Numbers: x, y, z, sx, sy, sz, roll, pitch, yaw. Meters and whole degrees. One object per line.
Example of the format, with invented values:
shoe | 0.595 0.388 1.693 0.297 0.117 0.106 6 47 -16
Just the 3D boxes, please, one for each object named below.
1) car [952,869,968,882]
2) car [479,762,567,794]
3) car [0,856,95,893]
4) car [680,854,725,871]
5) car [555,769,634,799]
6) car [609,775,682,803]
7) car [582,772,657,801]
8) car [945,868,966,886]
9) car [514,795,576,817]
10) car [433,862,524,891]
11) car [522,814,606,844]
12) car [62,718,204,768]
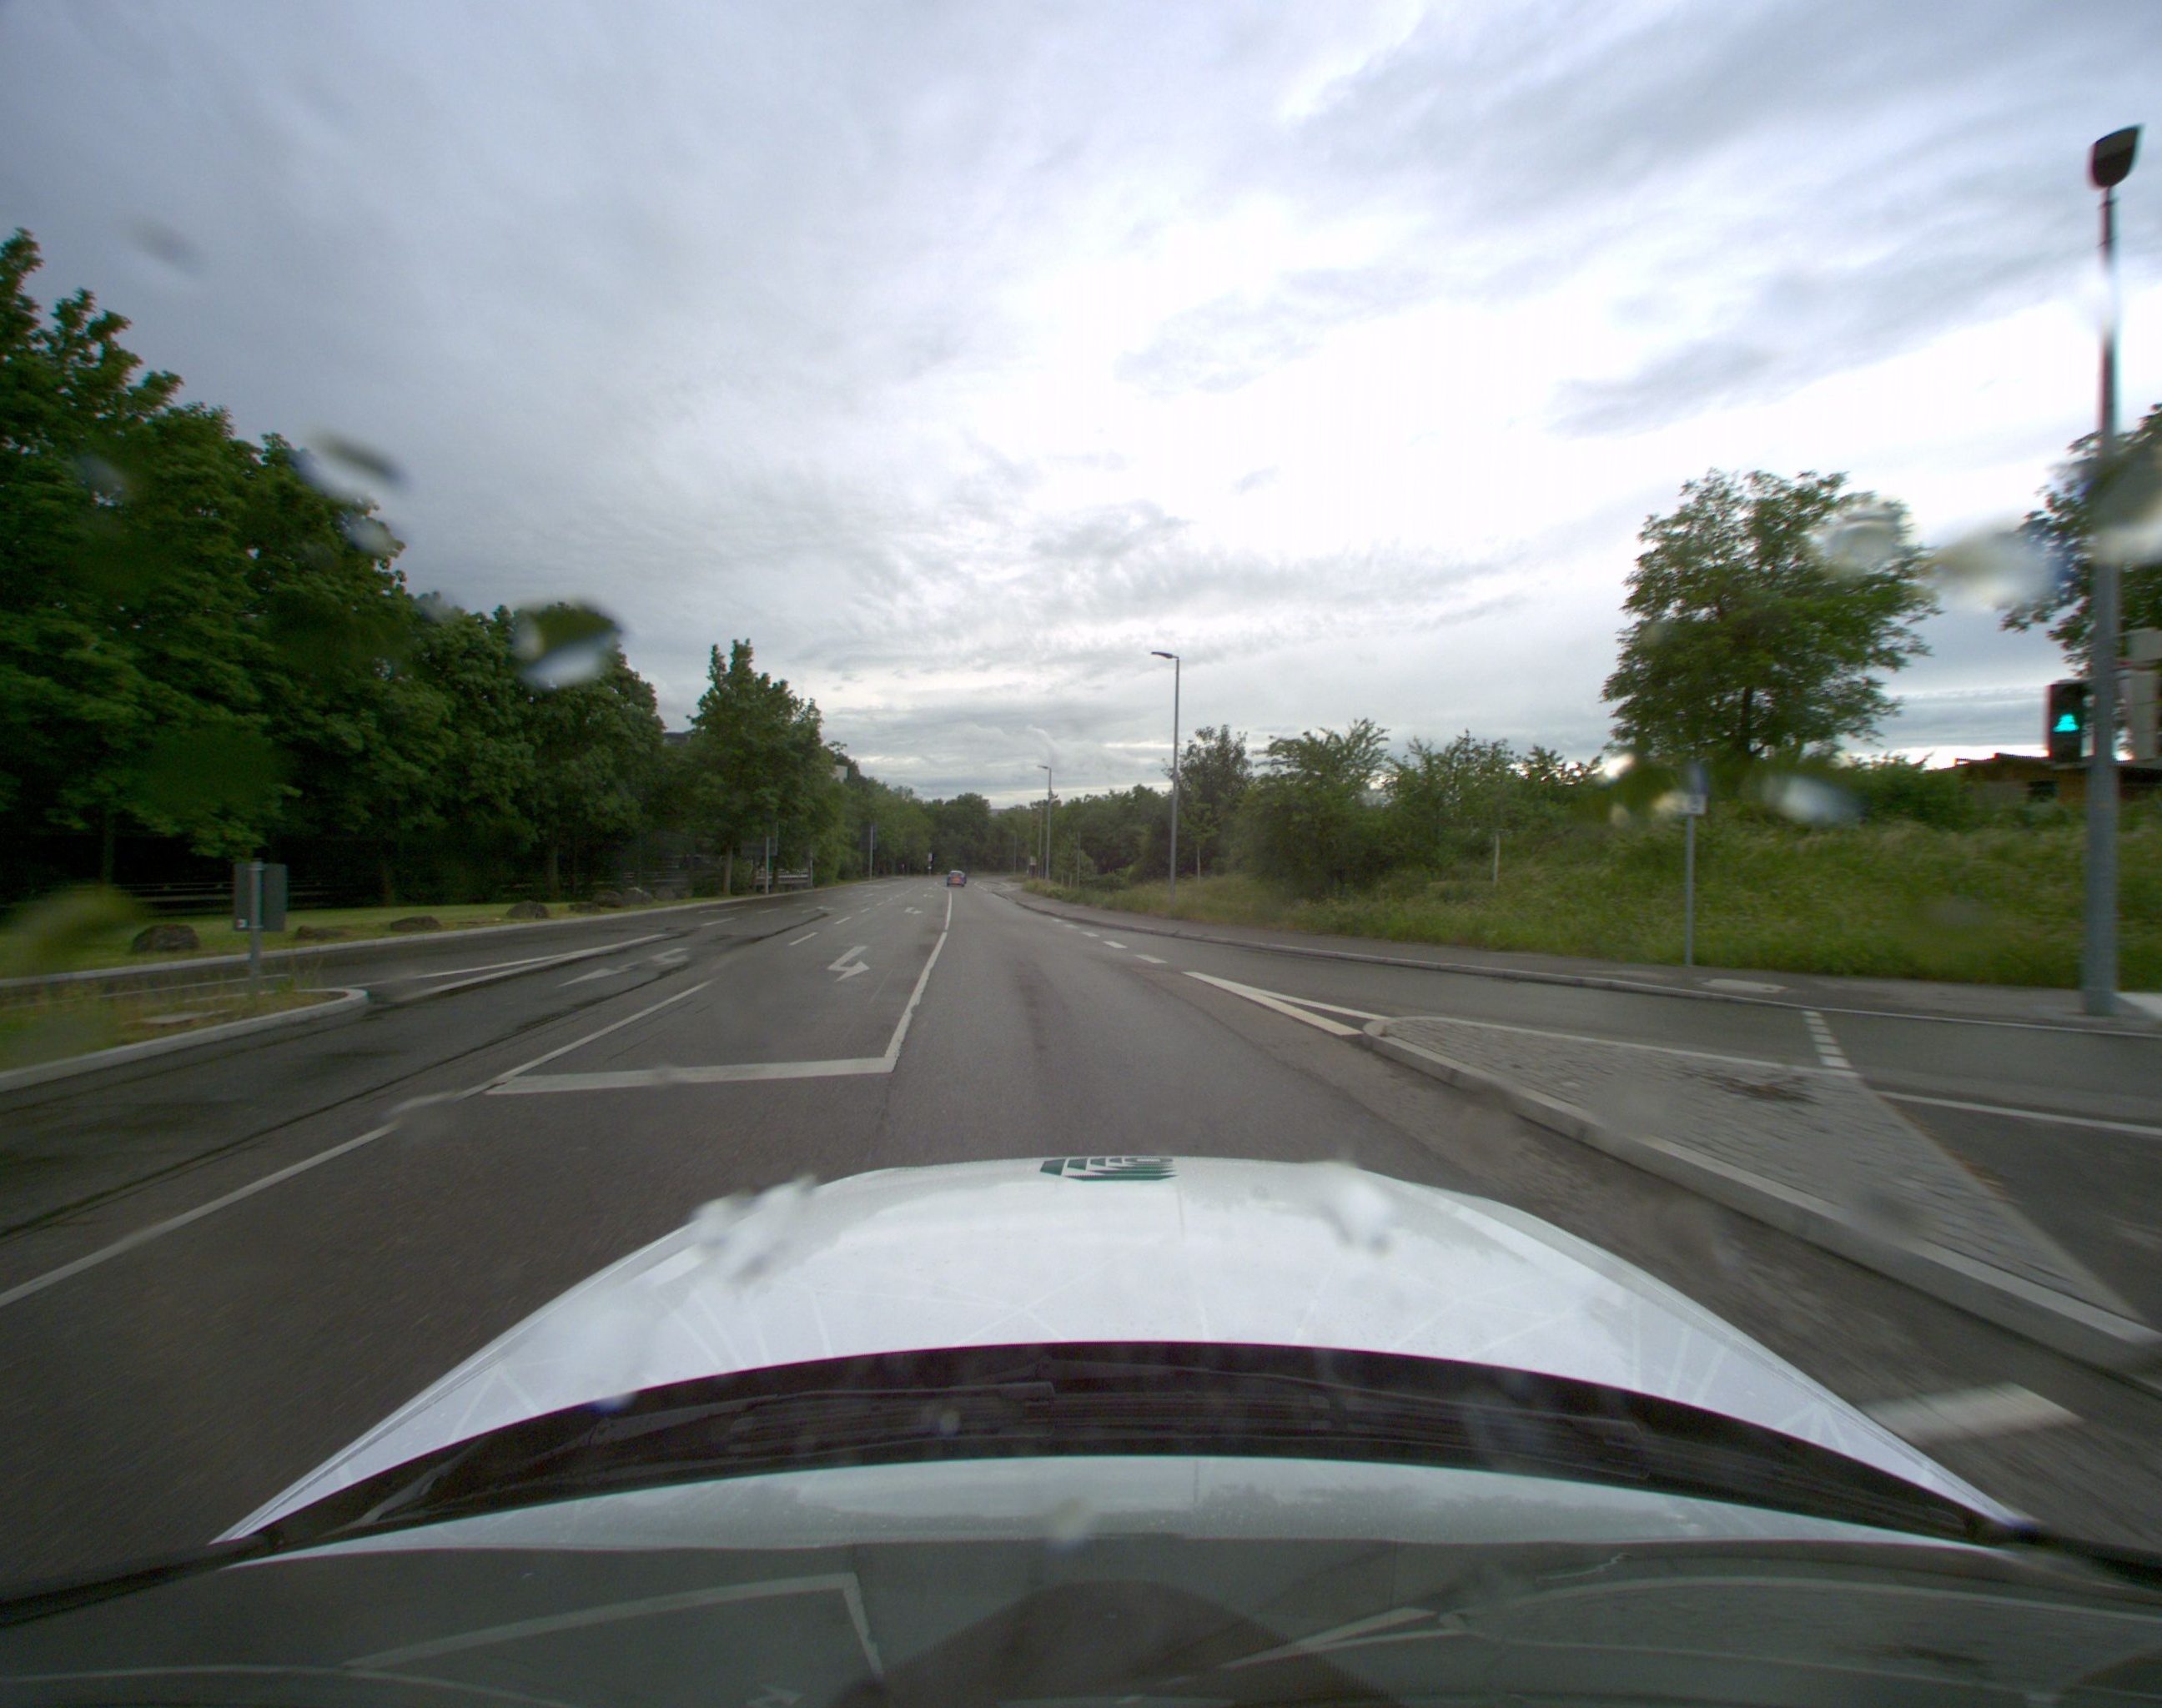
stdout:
car | -15.167 2.700 102.220 1.926 1.486 3.788 0 1 -9
car | -31.151 -4.249 45.508 3.955 1.519 2.009 3 0 19
car | -44.888 0.863 34.697 3.960 1.519 2.007 0 -1 12
car | -34.589 0.760 74.413 3.439 1.519 1.591 1 -1 12
car | -29.890 -4.286 50.026 3.955 1.519 2.009 3 0 19
car | -28.929 -4.308 54.113 3.955 1.519 2.009 3 0 19
car | -29.525 -4.300 52.120 3.954 1.519 2.009 -1 -1 19
car | -12.714 2.344 82.647 1.992 1.689 3.989 0 1 -8
car | -42.738 -3.811 65.003 3.956 1.519 2.008 -1 -1 16
car | -32.353 1.204 43.766 3.954 1.519 2.009 -1 -1 19
car | -30.345 -1.445 47.820 3.955 1.519 2.009 3 0 19
car | -34.968 -4.096 30.050 3.955 1.519 2.009 3 0 19
